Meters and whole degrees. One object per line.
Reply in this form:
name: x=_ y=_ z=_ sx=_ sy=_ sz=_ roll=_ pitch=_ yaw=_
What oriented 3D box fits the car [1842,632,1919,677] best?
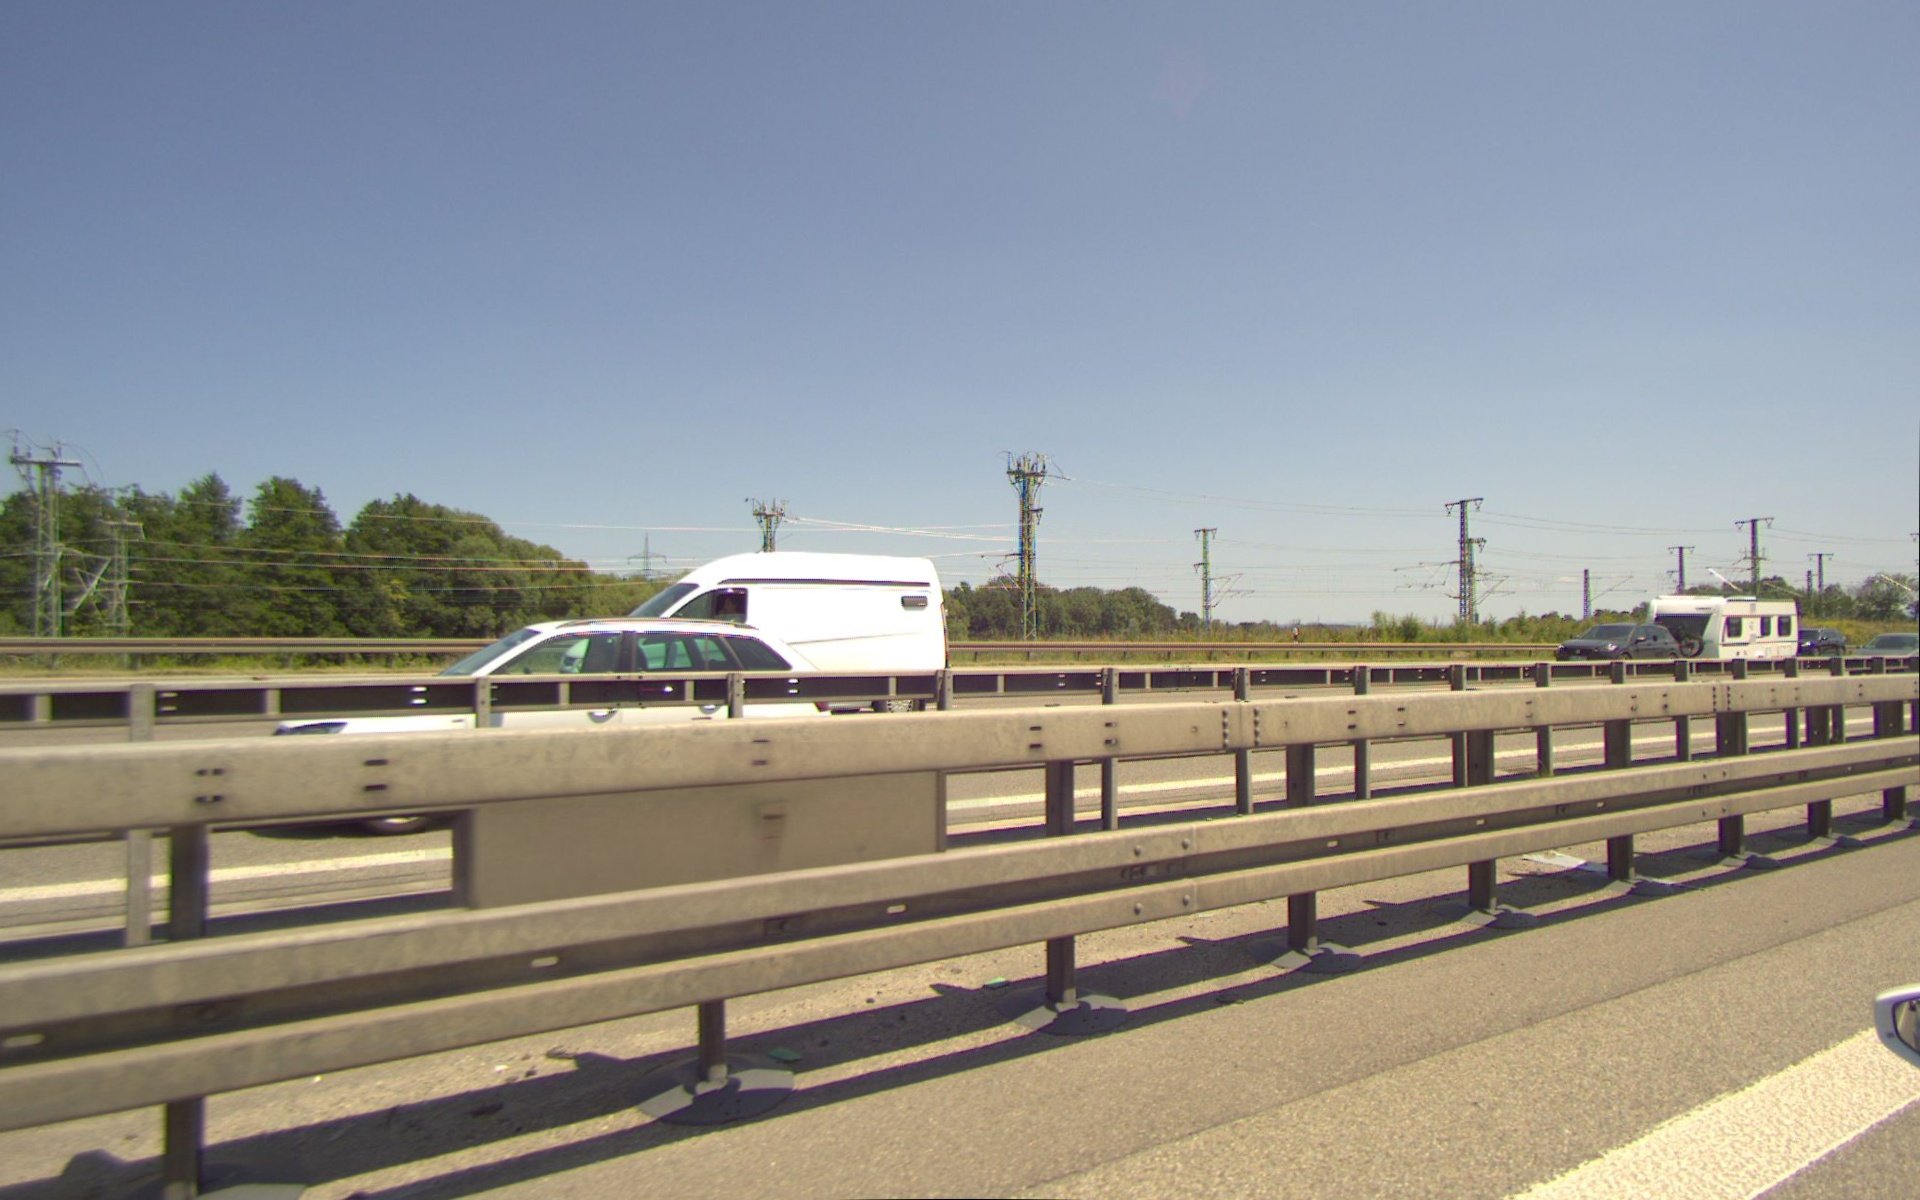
car: x=31.039 y=1.766 z=33.220 sx=3.953 sy=1.365 sz=1.685 roll=1 pitch=-1 yaw=-30

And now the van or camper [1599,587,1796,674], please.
van or camper: x=25.296 y=1.025 z=34.344 sx=7.970 sy=2.700 sz=2.505 roll=1 pitch=-1 yaw=-30

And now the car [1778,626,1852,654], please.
car: x=44.703 y=2.090 z=52.519 sx=3.953 sy=1.365 sz=1.757 roll=1 pitch=-1 yaw=-30

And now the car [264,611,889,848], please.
car: x=-2.918 y=0.869 z=8.203 sx=4.385 sy=1.484 sz=1.691 roll=1 pitch=-1 yaw=-30

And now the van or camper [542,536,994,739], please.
van or camper: x=-2.520 y=0.494 z=13.908 sx=5.824 sy=2.330 sz=1.984 roll=1 pitch=-1 yaw=-30

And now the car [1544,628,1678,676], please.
car: x=20.187 y=1.573 z=31.109 sx=4.330 sy=1.365 sz=1.757 roll=1 pitch=-1 yaw=-30
